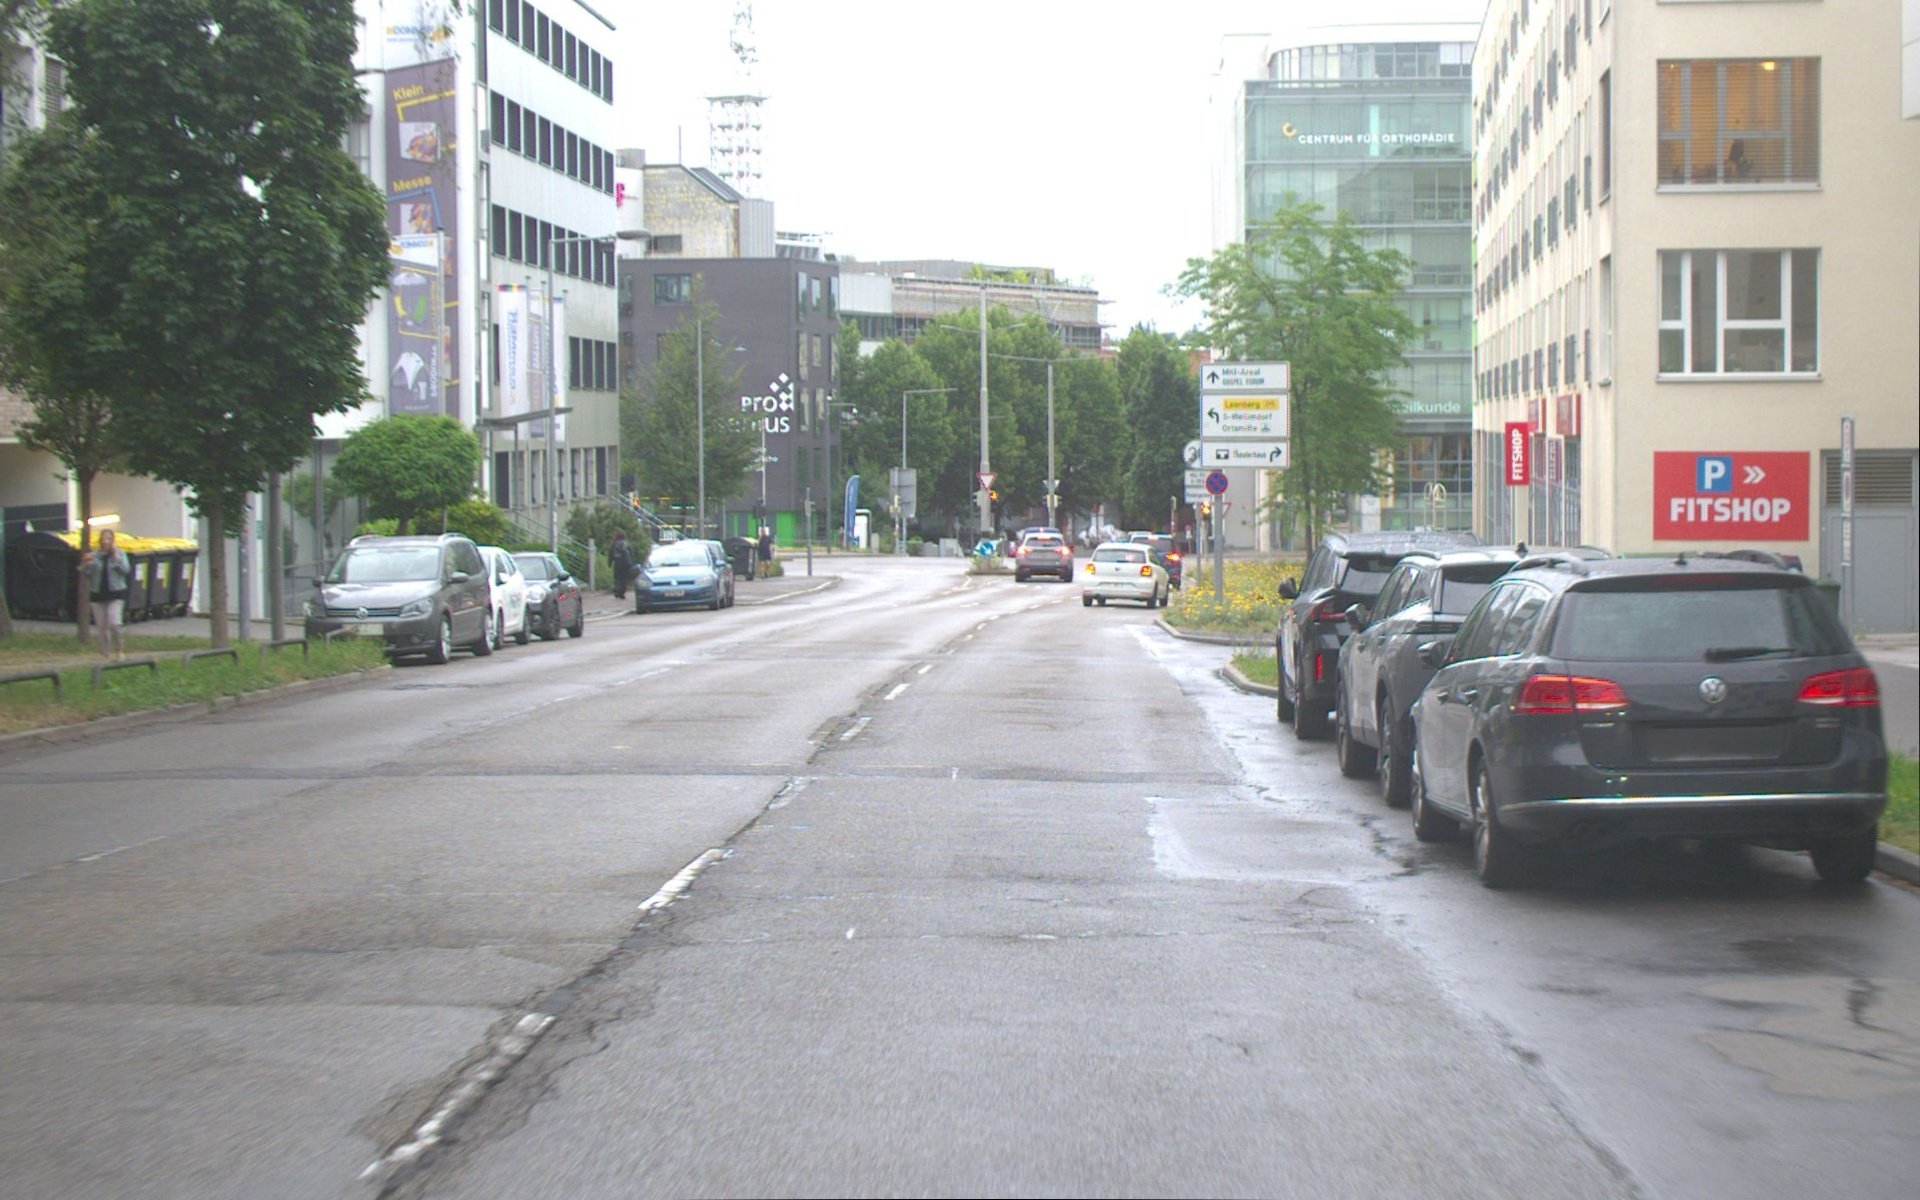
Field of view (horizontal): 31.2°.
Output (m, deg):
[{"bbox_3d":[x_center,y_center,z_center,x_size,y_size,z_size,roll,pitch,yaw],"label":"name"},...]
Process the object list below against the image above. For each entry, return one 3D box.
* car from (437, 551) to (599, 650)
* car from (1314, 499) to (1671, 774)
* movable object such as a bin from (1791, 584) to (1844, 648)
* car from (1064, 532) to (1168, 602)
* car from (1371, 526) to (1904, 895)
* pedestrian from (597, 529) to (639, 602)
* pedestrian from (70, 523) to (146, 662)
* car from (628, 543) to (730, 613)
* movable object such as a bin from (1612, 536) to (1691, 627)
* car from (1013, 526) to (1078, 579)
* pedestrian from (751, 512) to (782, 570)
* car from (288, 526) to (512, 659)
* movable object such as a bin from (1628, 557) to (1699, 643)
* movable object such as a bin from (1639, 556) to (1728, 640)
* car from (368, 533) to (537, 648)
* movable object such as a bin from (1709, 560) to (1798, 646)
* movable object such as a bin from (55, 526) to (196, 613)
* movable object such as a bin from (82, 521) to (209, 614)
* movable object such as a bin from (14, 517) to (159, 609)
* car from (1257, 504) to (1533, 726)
[{"bbox_3d":[-7.016,0.011,55.004,1.797,1.511,4.245,0,0,4],"label":"car"},{"bbox_3d":[3.327,0.220,22.207,1.749,1.600,4.373,0,0,2],"label":"car"},{"bbox_3d":[14.032,0.255,56.266,0.699,1.023,0.853,0,0,4],"label":"movable object such as a bin"},{"bbox_3d":[3.603,-0.774,78.815,1.994,1.571,3.995,0,1,8],"label":"car"},{"bbox_3d":[3.155,0.471,16.973,1.807,1.558,4.846,0,0,2],"label":"car"},{"bbox_3d":[-8.167,-0.822,82.148,0.728,1.703,0.903,-1,-1,-25],"label":"pedestrian"},{"bbox_3d":[-10.441,-0.095,42.139,0.708,1.677,0.957,0,1,-2],"label":"pedestrian"},{"bbox_3d":[-6.067,-0.453,74.573,1.914,1.476,4.356,0,0,-1],"label":"car"},{"bbox_3d":[11.593,-0.308,57.675,1.174,1.498,1.013,0,0,5],"label":"movable object such as a bin"},{"bbox_3d":[2.887,-1.571,115.492,2.141,1.722,4.000,0,0,2],"label":"car"},{"bbox_3d":[-6.639,-2.019,117.833,0.959,1.949,0.779,0,0,-10],"label":"pedestrian"},{"bbox_3d":[-7.254,-0.131,45.025,2.077,1.603,4.685,-2,1,1],"label":"car"},{"bbox_3d":[11.574,-0.002,56.604,1.021,1.398,1.057,0,0,4],"label":"movable object such as a bin"},{"bbox_3d":[11.672,-0.032,55.502,1.235,1.316,1.191,-1,0,4],"label":"movable object such as a bin"},{"bbox_3d":[-7.370,-0.160,50.284,1.773,1.595,4.032,0,1,2],"label":"car"},{"bbox_3d":[13.002,0.043,56.343,1.261,1.398,1.112,0,0,4],"label":"movable object such as a bin"},{"bbox_3d":[-13.906,-0.511,57.343,2.054,1.418,1.317,1,0,-1],"label":"movable object such as a bin"},{"bbox_3d":[-13.928,-0.554,58.865,1.795,1.505,1.482,-2,0,-1],"label":"movable object such as a bin"},{"bbox_3d":[-14.222,-0.603,56.016,2.026,1.425,1.290,1,0,-1],"label":"movable object such as a bin"},{"bbox_3d":[3.501,0.064,28.409,1.807,1.673,4.712,0,1,2],"label":"car"}]
